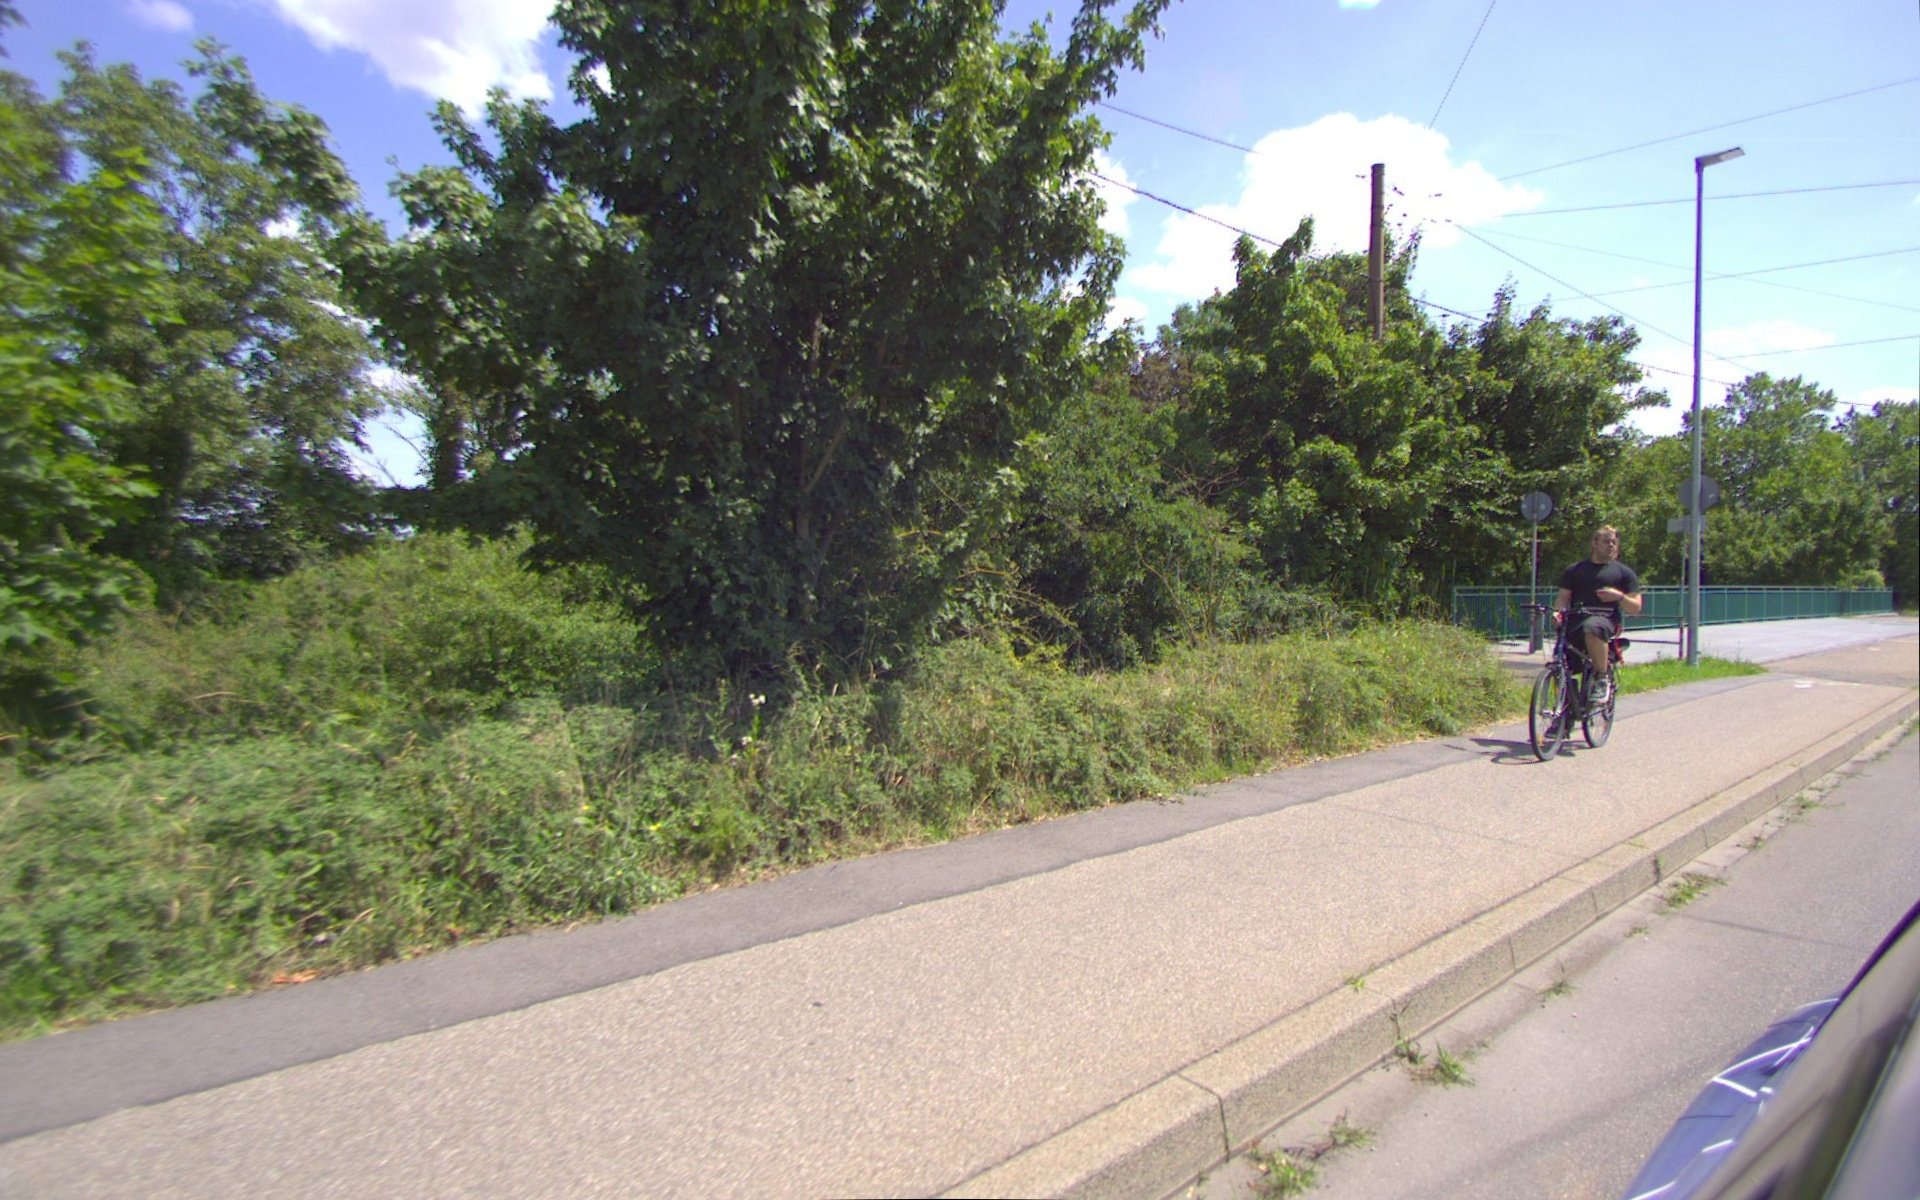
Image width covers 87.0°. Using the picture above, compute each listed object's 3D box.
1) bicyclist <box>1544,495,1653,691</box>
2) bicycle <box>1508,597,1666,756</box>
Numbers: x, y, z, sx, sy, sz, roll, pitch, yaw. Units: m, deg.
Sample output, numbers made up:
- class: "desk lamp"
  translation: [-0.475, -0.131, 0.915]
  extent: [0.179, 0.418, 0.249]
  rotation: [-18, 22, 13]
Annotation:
- class: "bicyclist"
  translation: [5.176, -0.054, 8.212]
  extent: [0.547, 1.514, 0.587]
  rotation: [1, -1, -36]
- class: "bicycle"
  translation: [5.074, 0.573, 8.143]
  extent: [1.820, 1.167, 0.433]
  rotation: [1, -1, -36]
